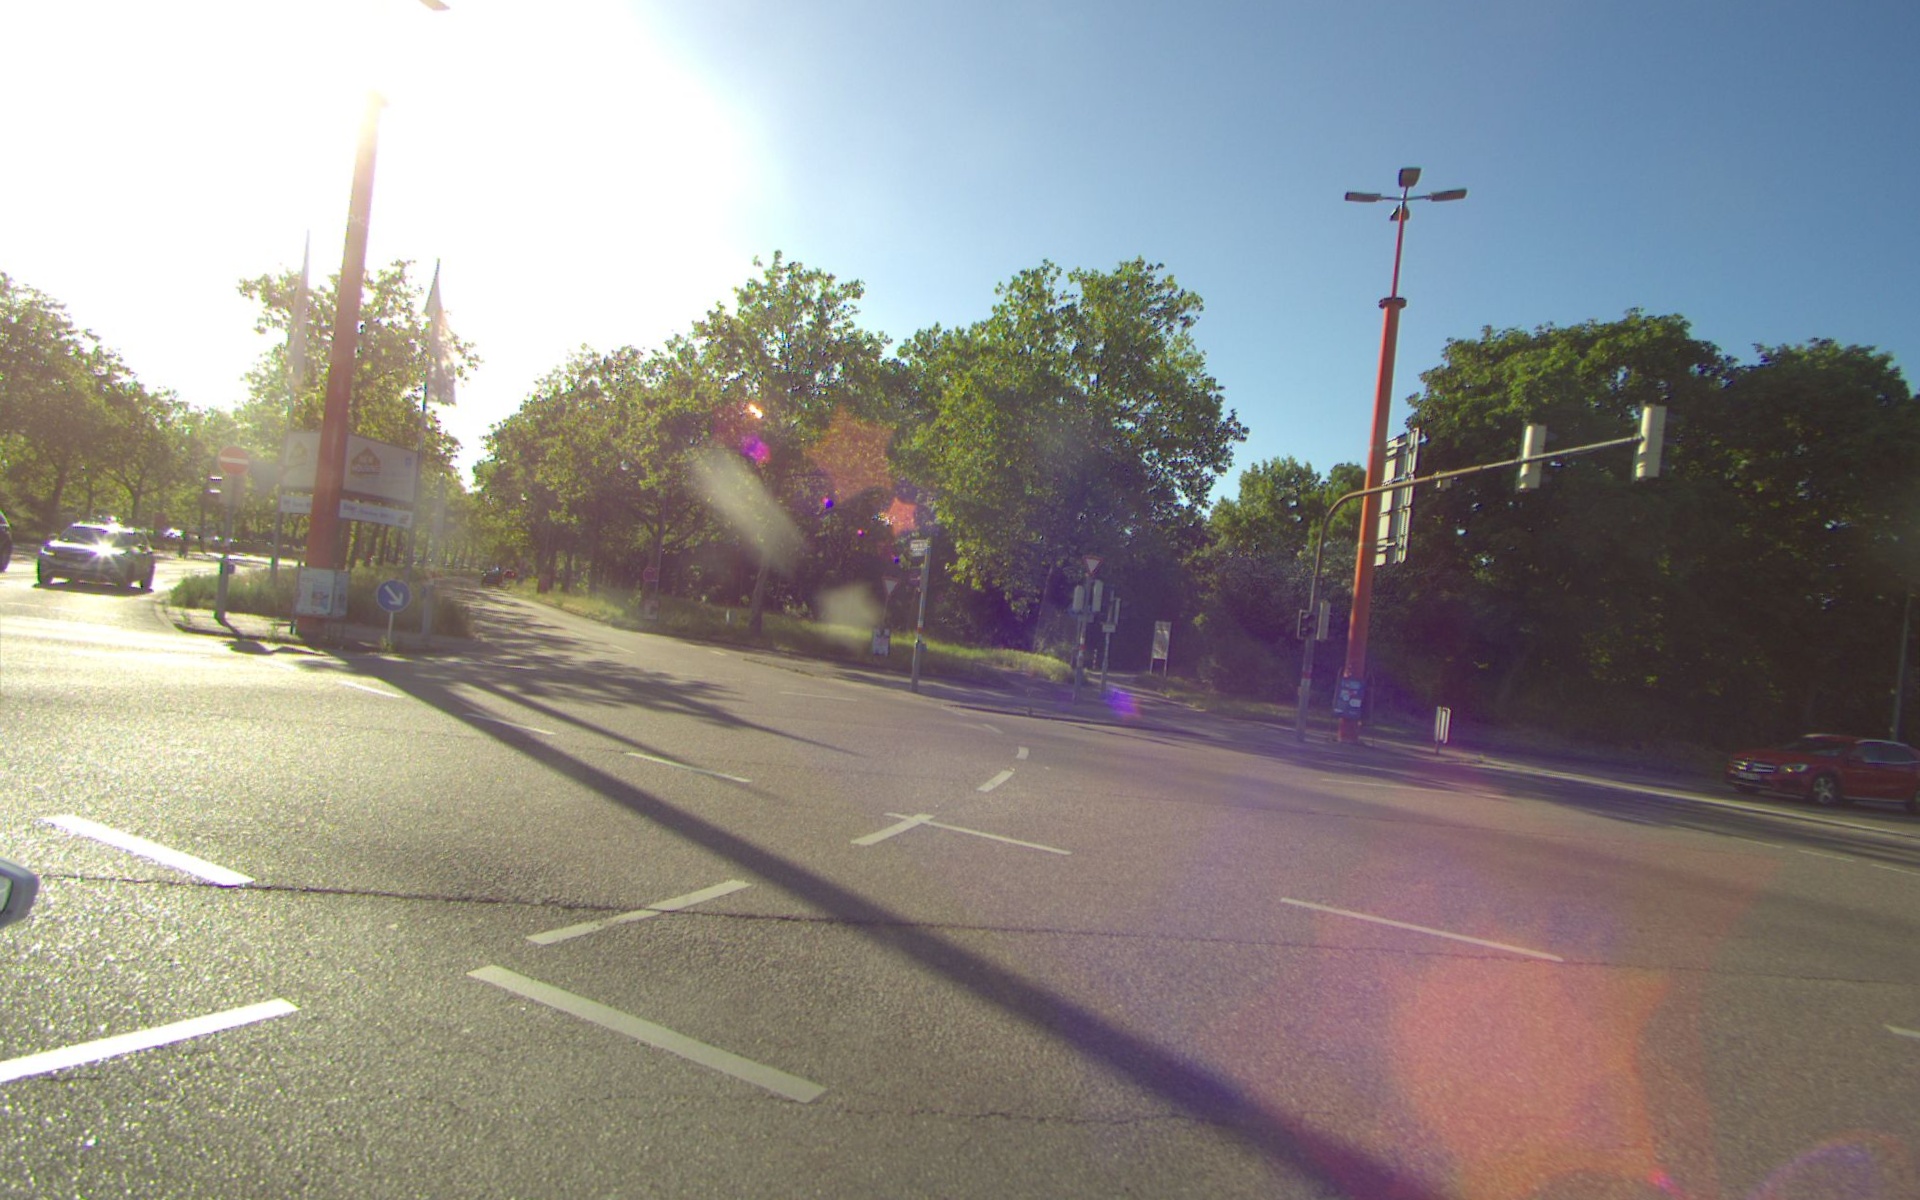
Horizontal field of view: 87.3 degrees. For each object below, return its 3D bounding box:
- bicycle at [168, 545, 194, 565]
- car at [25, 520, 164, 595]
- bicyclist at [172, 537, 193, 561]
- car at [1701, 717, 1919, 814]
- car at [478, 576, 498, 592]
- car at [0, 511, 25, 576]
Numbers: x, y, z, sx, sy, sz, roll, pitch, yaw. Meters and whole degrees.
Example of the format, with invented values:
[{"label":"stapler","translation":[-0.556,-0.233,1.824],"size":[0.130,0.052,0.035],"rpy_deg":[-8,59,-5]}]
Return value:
[{"label":"bicycle","translation":[-49.922,-2.885,64.482],"size":[0.728,1.104,2.004],"rpy_deg":[6,-2,-24]},{"label":"car","translation":[-22.089,-1.043,25.844],"size":[1.753,1.556,4.063],"rpy_deg":[7,-2,-29]},{"label":"bicyclist","translation":[-49.925,-3.269,64.570],"size":[0.728,1.453,0.960],"rpy_deg":[6,-1,-24]},{"label":"car","translation":[18.797,3.601,21.805],"size":[4.218,1.513,1.997],"rpy_deg":[7,-1,-11]},{"label":"car","translation":[-49.414,-1.675,105.275],"size":[1.774,1.403,4.026],"rpy_deg":[8,-2,-25]},{"label":"car","translation":[-26.053,-1.599,25.690],"size":[1.886,1.746,4.623],"rpy_deg":[7,-2,-28]}]
